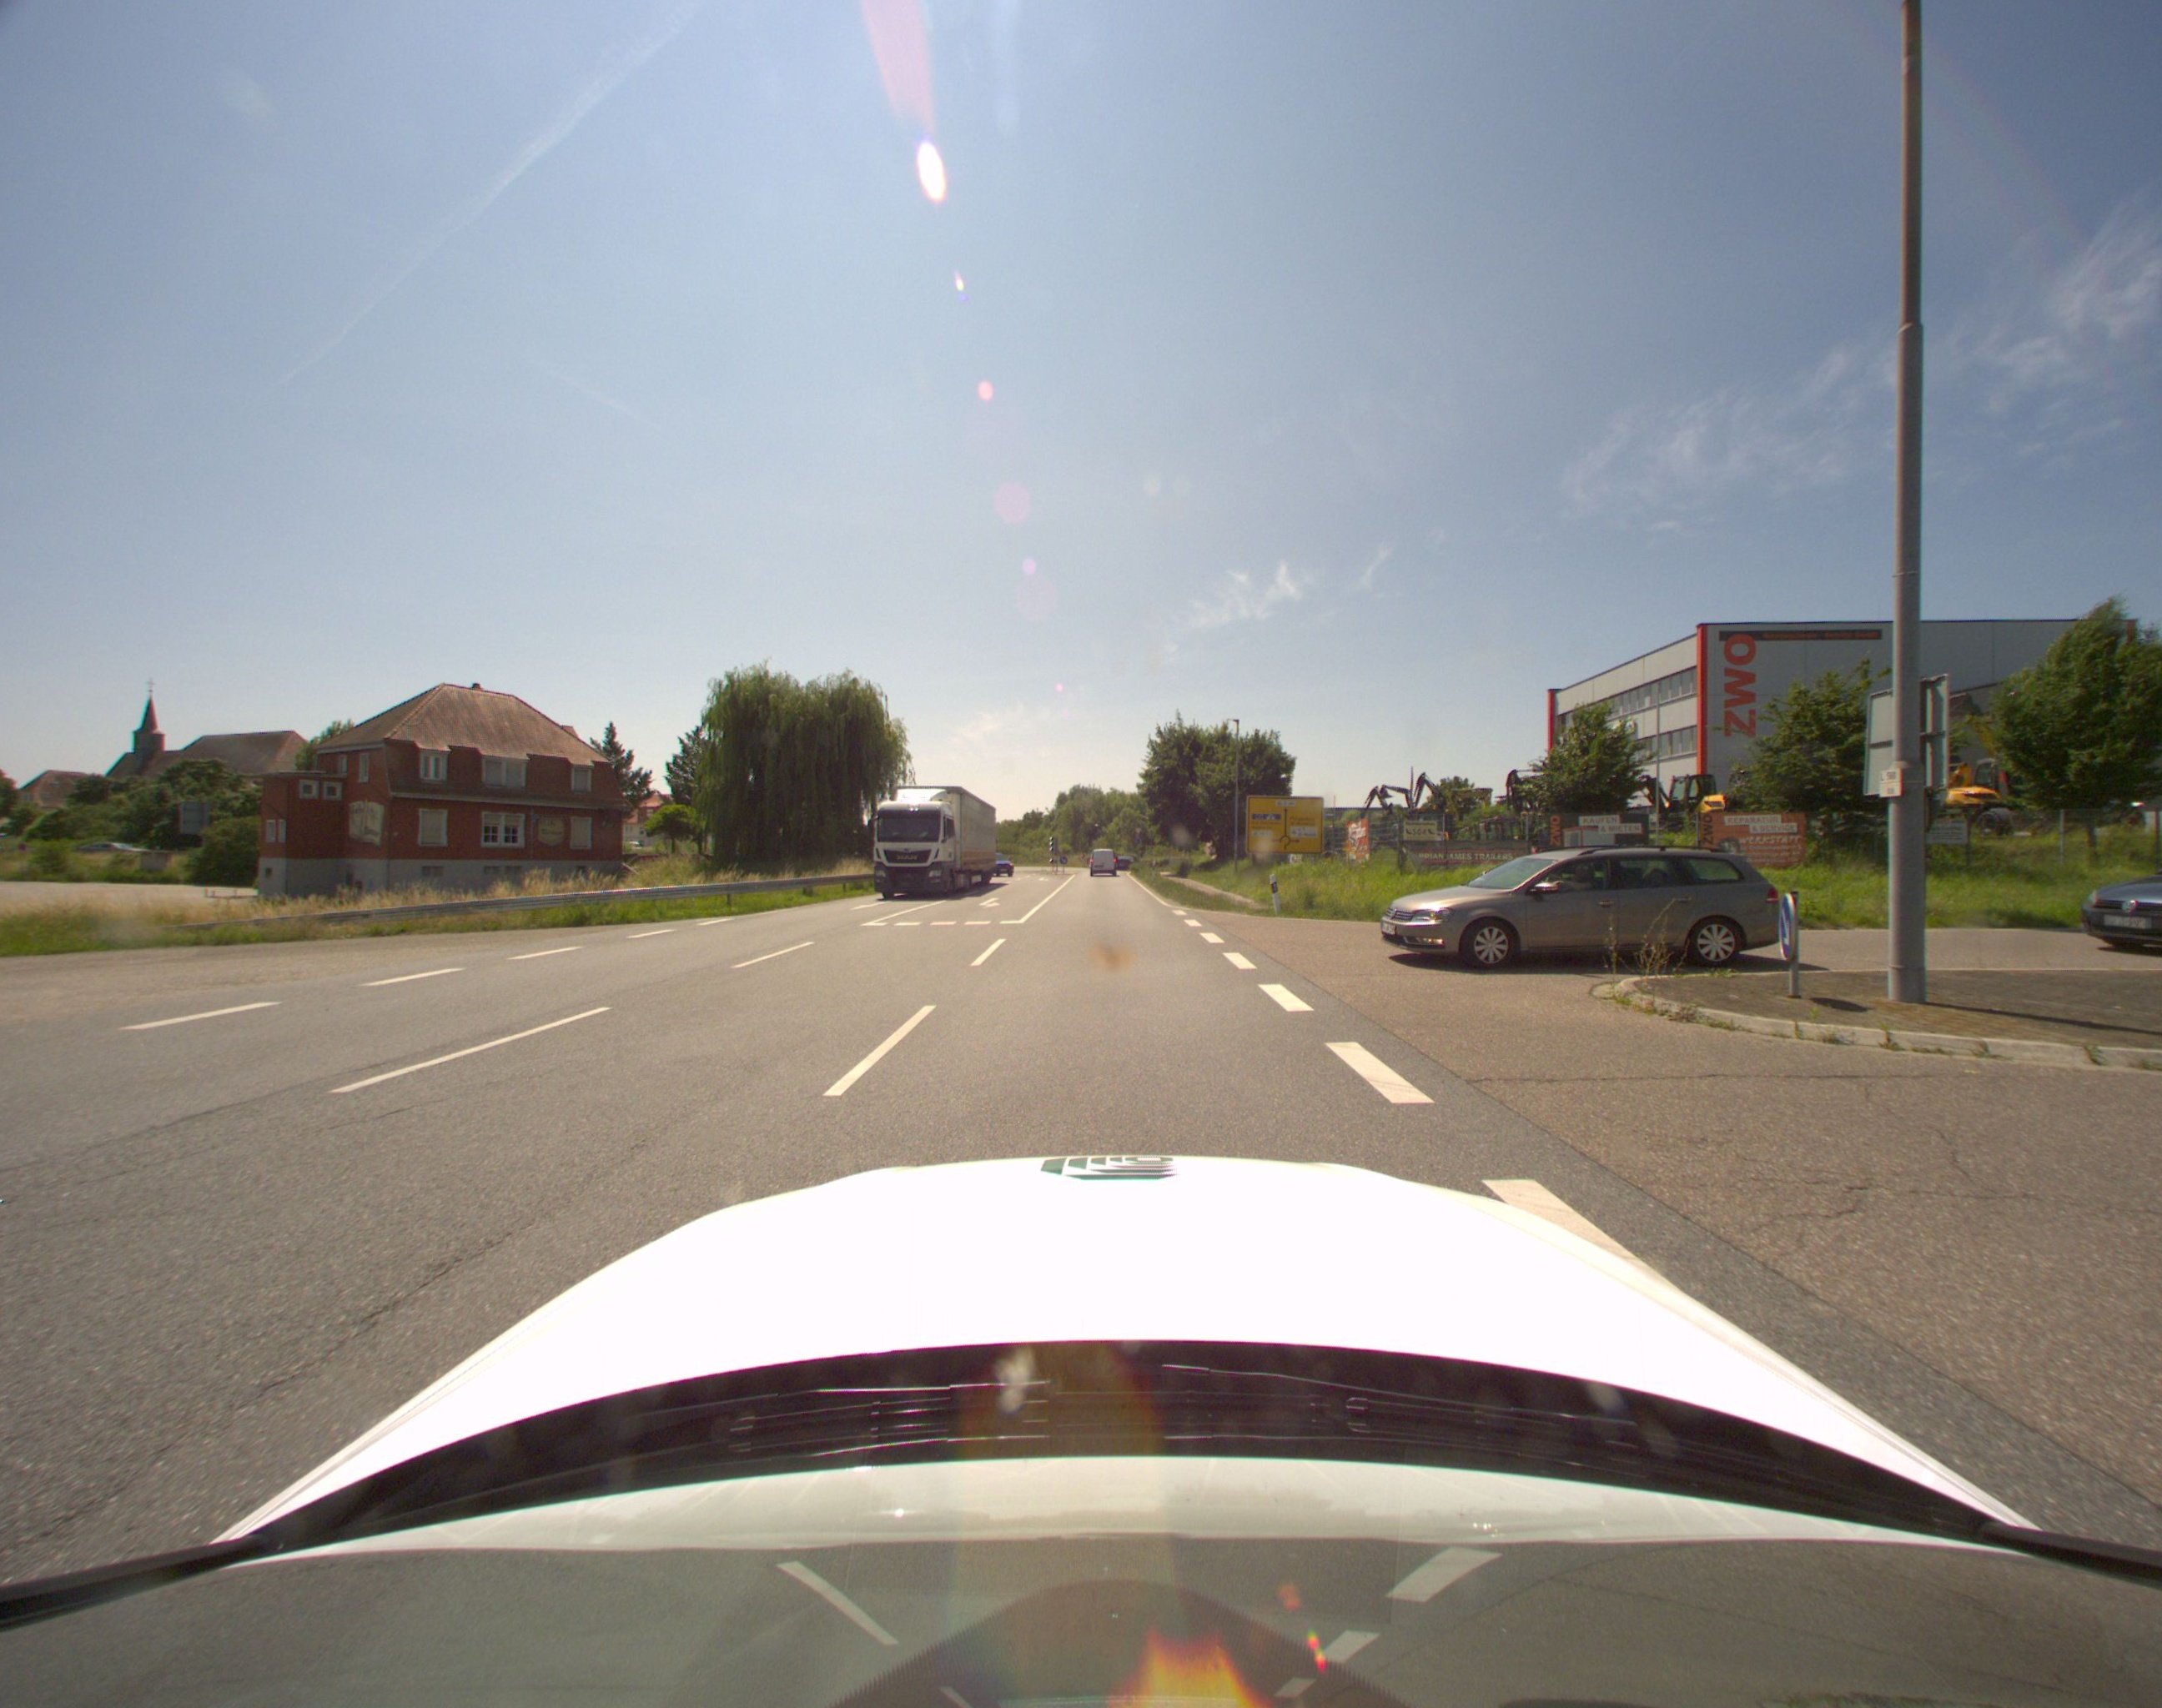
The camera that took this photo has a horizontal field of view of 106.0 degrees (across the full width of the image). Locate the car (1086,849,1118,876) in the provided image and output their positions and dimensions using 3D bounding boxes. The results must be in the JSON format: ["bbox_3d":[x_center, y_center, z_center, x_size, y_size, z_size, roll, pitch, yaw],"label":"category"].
[{"bbox_3d":[1.376,0.548,54.716,1.899,1.732,3.818,1,-1,-3],"label":"car"}]

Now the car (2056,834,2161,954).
[{"bbox_3d":[14.990,0.459,9.963,3.981,1.440,1.637,-1,0,4],"label":"car"}]

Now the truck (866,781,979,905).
[{"bbox_3d":[-5.736,-0.392,30.736,2.781,4.056,6.753,2,0,0],"label":"truck"}]

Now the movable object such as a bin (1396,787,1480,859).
[{"bbox_3d":[26.716,-2.265,61.077,5.061,5.055,2.781,2,-2,4],"label":"movable object such as a bin"}]

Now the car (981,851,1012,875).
[{"bbox_3d":[-5.906,0.612,56.597,1.847,1.567,3.986,-1,0,-10],"label":"car"}]

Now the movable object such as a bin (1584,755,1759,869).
[{"bbox_3d":[23.911,-1.627,33.188,5.061,4.275,2.837,2,-2,4],"label":"movable object such as a bin"}]

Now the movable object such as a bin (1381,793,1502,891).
[{"bbox_3d":[13.280,-0.336,30.410,2.314,3.250,5.102,2,-2,2],"label":"movable object such as a bin"}]

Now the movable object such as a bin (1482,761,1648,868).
[{"bbox_3d":[25.407,-1.994,43.109,6.561,5.148,3.810,2,-2,4],"label":"movable object such as a bin"}]

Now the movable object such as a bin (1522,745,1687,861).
[{"bbox_3d":[25.057,-2.364,39.223,5.891,5.105,3.112,2,-2,4],"label":"movable object such as a bin"}]

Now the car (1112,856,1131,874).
[{"bbox_3d":[4.067,1.091,81.347,1.798,1.556,4.002,0,1,2],"label":"car"}]

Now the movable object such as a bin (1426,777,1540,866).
[{"bbox_3d":[25.591,-2.018,52.074,5.690,5.270,3.225,2,-2,4],"label":"movable object such as a bin"}]

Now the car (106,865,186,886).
[{"bbox_3d":[-72.796,1.625,63.506,1.569,1.442,4.024,0,1,43],"label":"car"}]

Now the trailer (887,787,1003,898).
[{"bbox_3d":[-5.710,-0.480,37.051,2.781,4.056,13.501,2,0,0],"label":"trailer"}]

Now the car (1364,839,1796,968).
[{"bbox_3d":[6.266,0.591,10.678,4.494,1.508,1.915,0,0,2],"label":"car"}]
